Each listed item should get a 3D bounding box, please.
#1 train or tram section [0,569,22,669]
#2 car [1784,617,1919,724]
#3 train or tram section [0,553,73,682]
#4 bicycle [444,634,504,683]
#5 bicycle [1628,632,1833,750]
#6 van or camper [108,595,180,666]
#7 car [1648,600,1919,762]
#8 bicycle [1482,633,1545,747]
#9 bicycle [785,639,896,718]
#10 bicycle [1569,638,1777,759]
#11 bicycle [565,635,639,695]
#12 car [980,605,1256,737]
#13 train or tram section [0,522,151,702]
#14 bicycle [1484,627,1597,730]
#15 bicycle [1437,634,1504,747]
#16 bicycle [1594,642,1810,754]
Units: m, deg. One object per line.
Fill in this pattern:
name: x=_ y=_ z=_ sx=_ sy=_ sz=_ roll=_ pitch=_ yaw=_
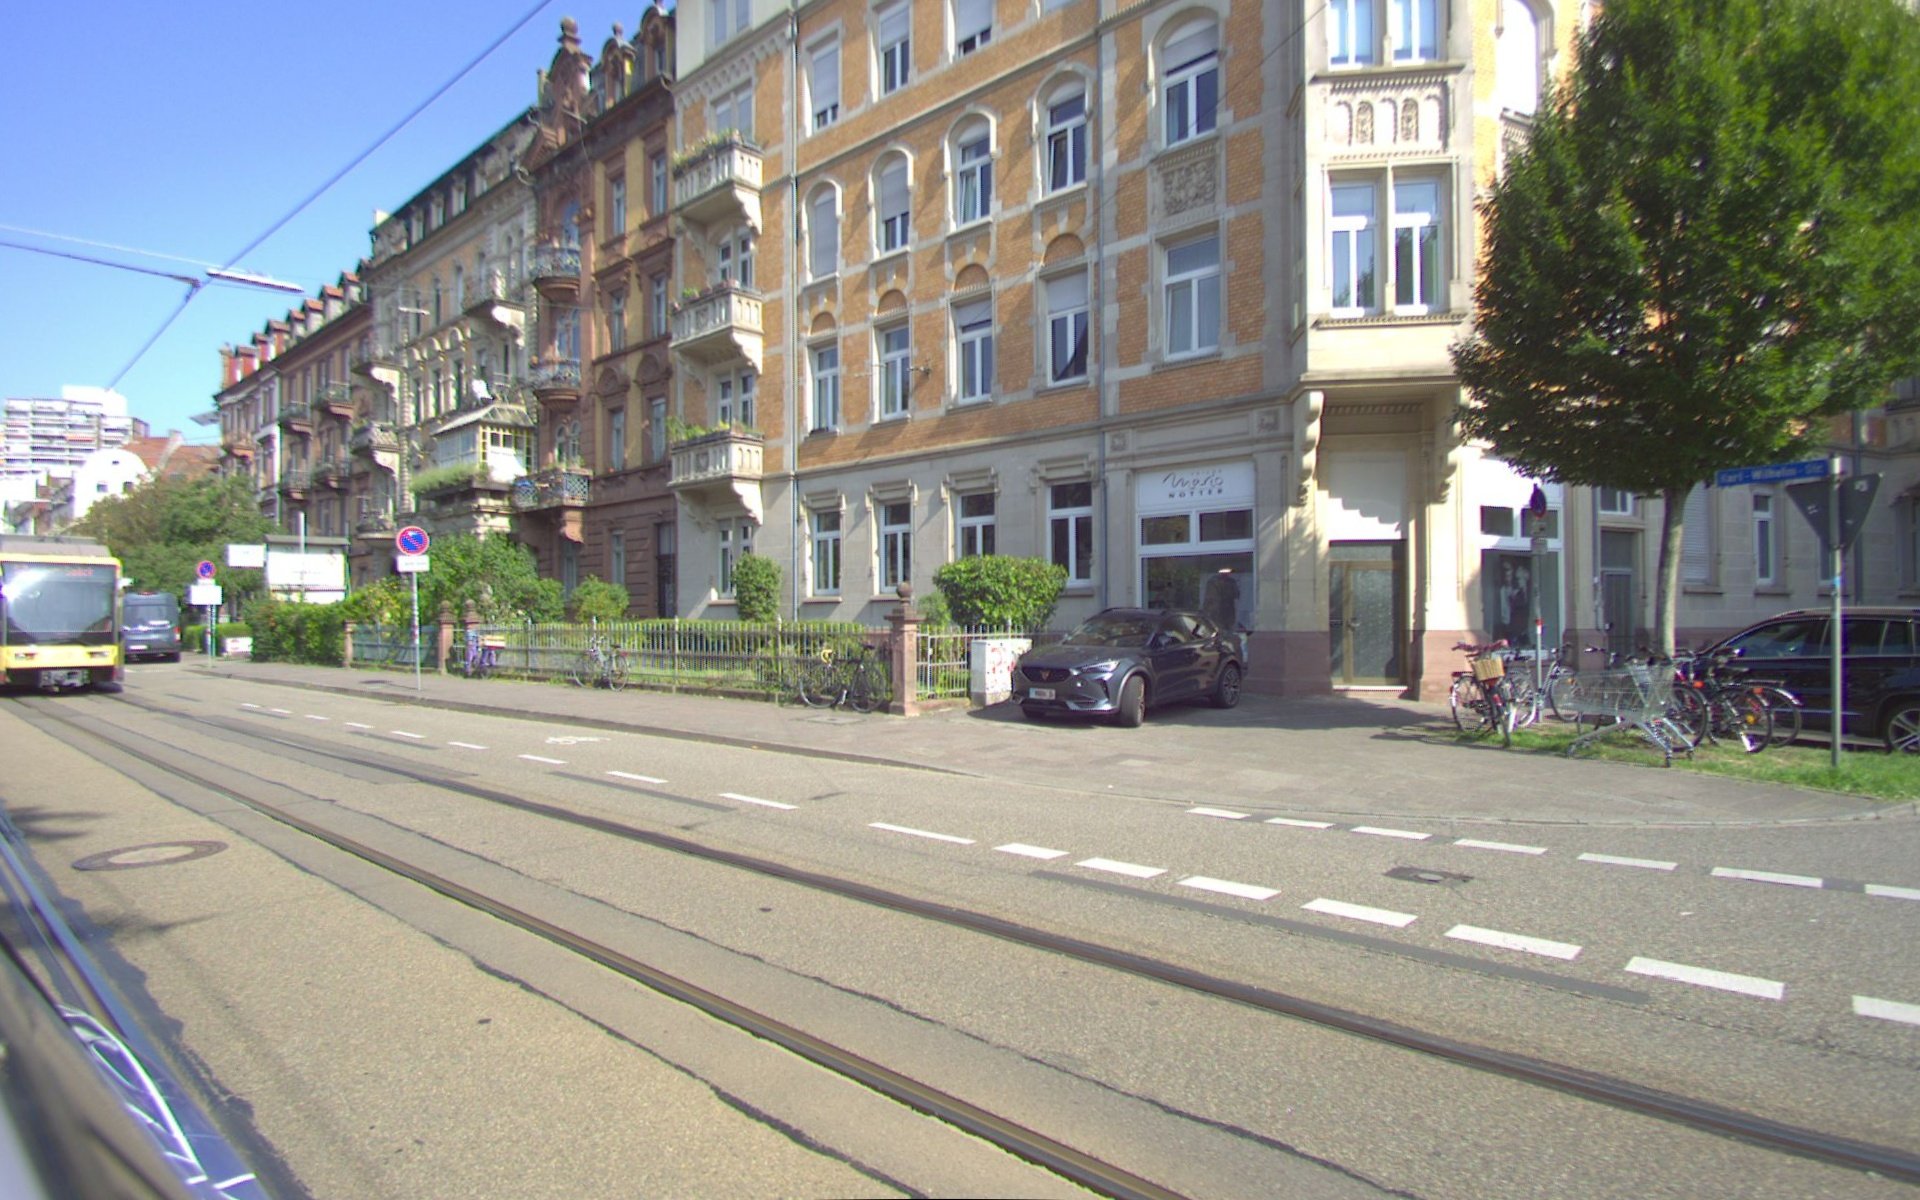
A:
train or tram section: x=-40.001 y=0.864 z=40.104 sx=15.427 sy=3.532 sz=2.706 roll=-2 pitch=-1 yaw=42
car: x=14.693 y=1.012 z=14.737 sx=1.738 sy=1.538 sz=3.779 roll=0 pitch=-2 yaw=-30
train or tram section: x=-30.166 y=0.600 z=31.398 sx=10.772 sy=3.532 sz=2.706 roll=-2 pitch=-1 yaw=42
bicycle: x=-11.397 y=1.356 z=23.727 sx=1.840 sy=1.066 sz=0.600 roll=-2 pitch=2 yaw=44
bicycle: x=8.808 y=0.992 z=11.644 sx=0.534 sy=1.239 sz=1.778 roll=1 pitch=-2 yaw=-34
van or camper: x=-33.162 y=1.217 z=41.048 sx=2.025 sy=2.664 sz=6.098 roll=1 pitch=-2 yaw=-41
car: x=10.536 y=0.863 z=11.781 sx=1.737 sy=1.673 sz=3.780 roll=-2 pitch=0 yaw=-27
bicycle: x=6.390 y=0.981 z=11.645 sx=0.541 sy=1.190 sz=1.842 roll=-1 pitch=-2 yaw=31
bicycle: x=-1.796 y=1.132 z=15.029 sx=1.840 sy=1.066 sz=0.539 roll=-2 pitch=2 yaw=44
bicycle: x=7.554 y=0.999 z=10.822 sx=0.475 sy=1.168 sz=1.779 roll=1 pitch=-2 yaw=-28
bicycle: x=-6.999 y=1.247 z=19.746 sx=1.840 sy=1.066 sz=0.539 roll=-2 pitch=2 yaw=44
car: x=2.387 y=0.878 z=14.533 sx=2.063 sy=1.554 sz=4.094 roll=-1 pitch=0 yaw=41
train or tram section: x=-22.178 y=0.357 z=24.174 sx=10.772 sy=3.532 sz=2.706 roll=-2 pitch=-1 yaw=42
bicycle: x=7.548 y=0.983 z=13.138 sx=1.743 sy=1.266 sz=0.544 roll=1 pitch=-2 yaw=-34
bicycle: x=6.010 y=1.006 z=11.880 sx=0.541 sy=1.206 sz=1.833 roll=-1 pitch=-2 yaw=31
bicycle: x=8.083 y=1.029 z=11.125 sx=0.534 sy=1.098 sz=1.842 roll=1 pitch=-2 yaw=-29
